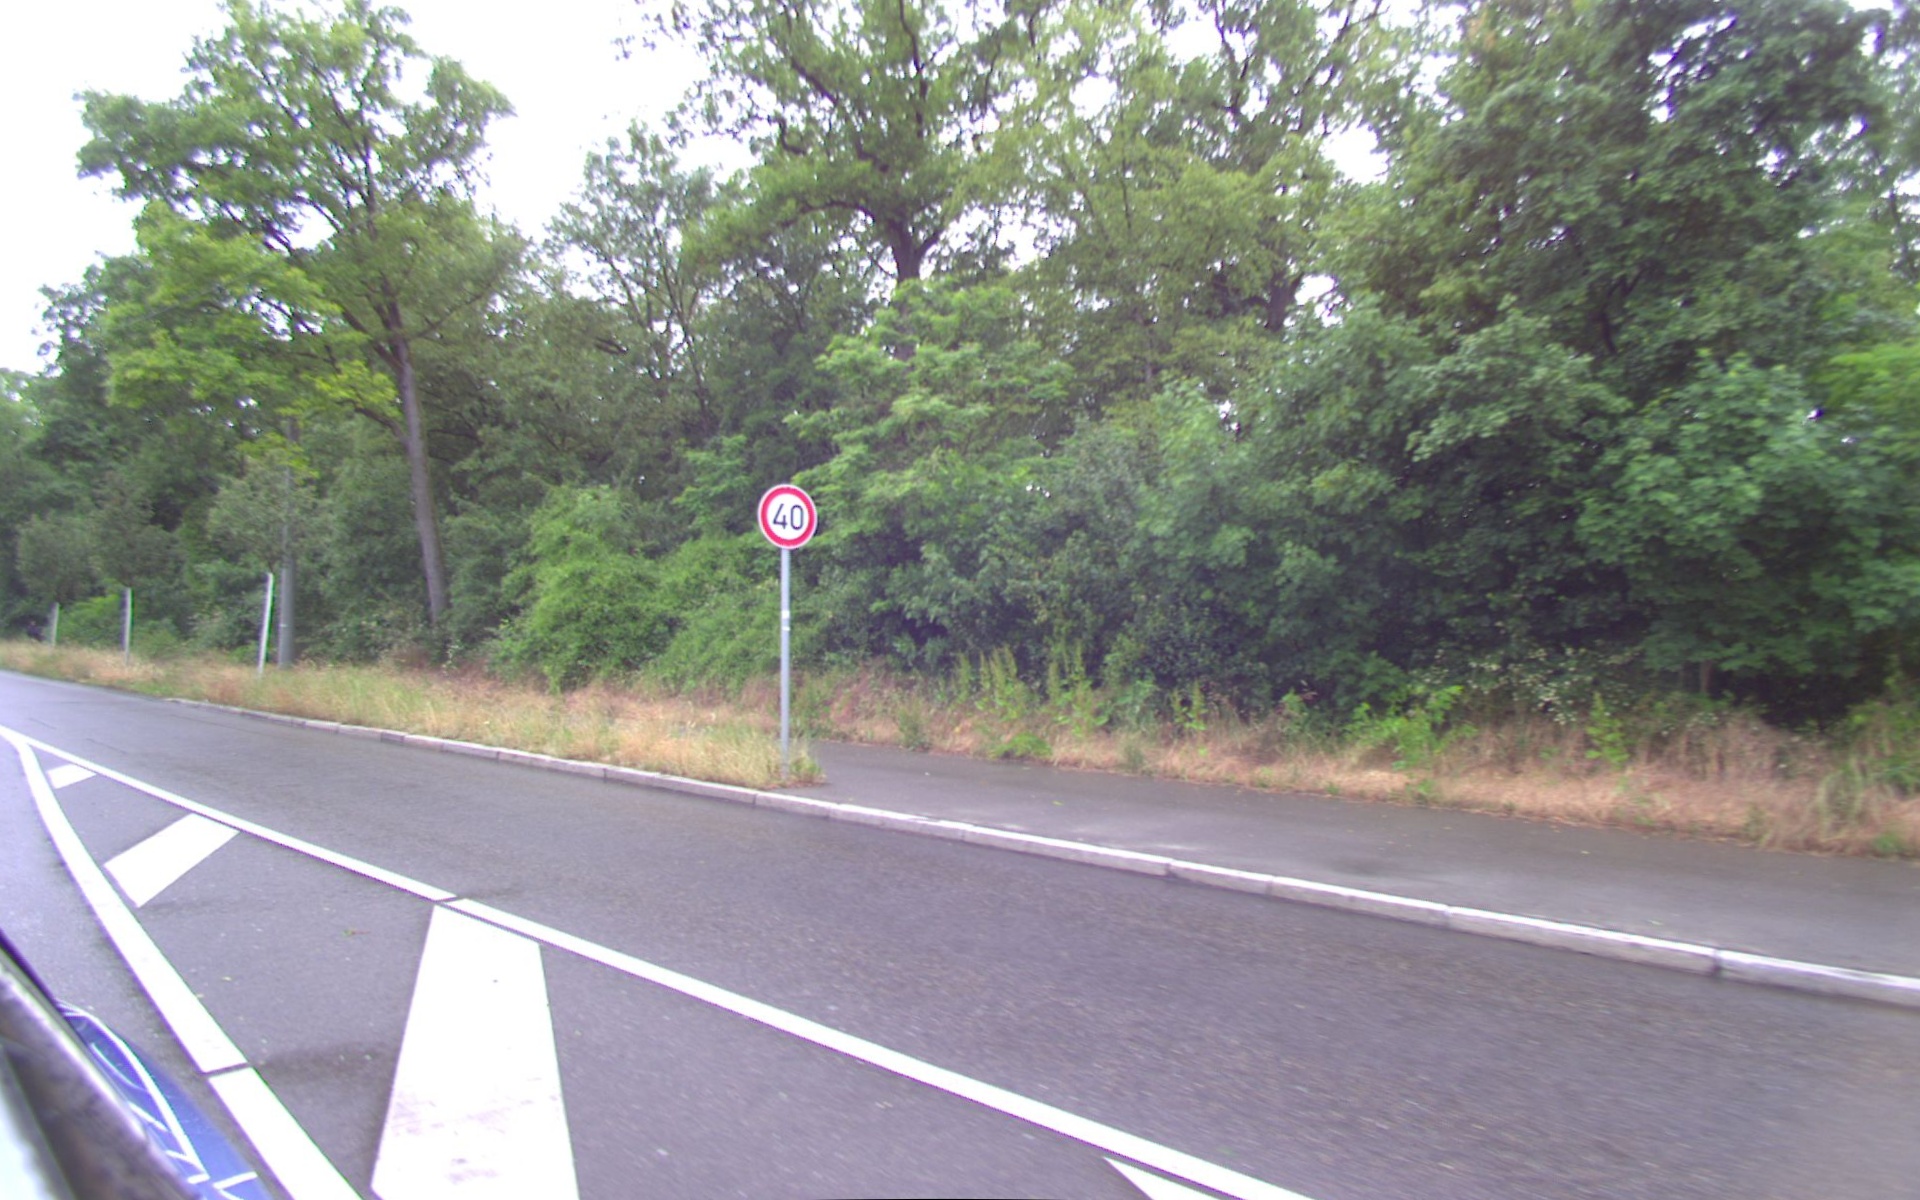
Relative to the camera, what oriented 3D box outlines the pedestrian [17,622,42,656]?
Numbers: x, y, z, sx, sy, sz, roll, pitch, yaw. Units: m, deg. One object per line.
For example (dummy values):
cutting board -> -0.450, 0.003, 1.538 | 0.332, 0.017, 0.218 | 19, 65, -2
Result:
pedestrian -> -45.417, 1.903, 49.405 | 0.731, 1.620, 0.773 | -1, -3, 38
